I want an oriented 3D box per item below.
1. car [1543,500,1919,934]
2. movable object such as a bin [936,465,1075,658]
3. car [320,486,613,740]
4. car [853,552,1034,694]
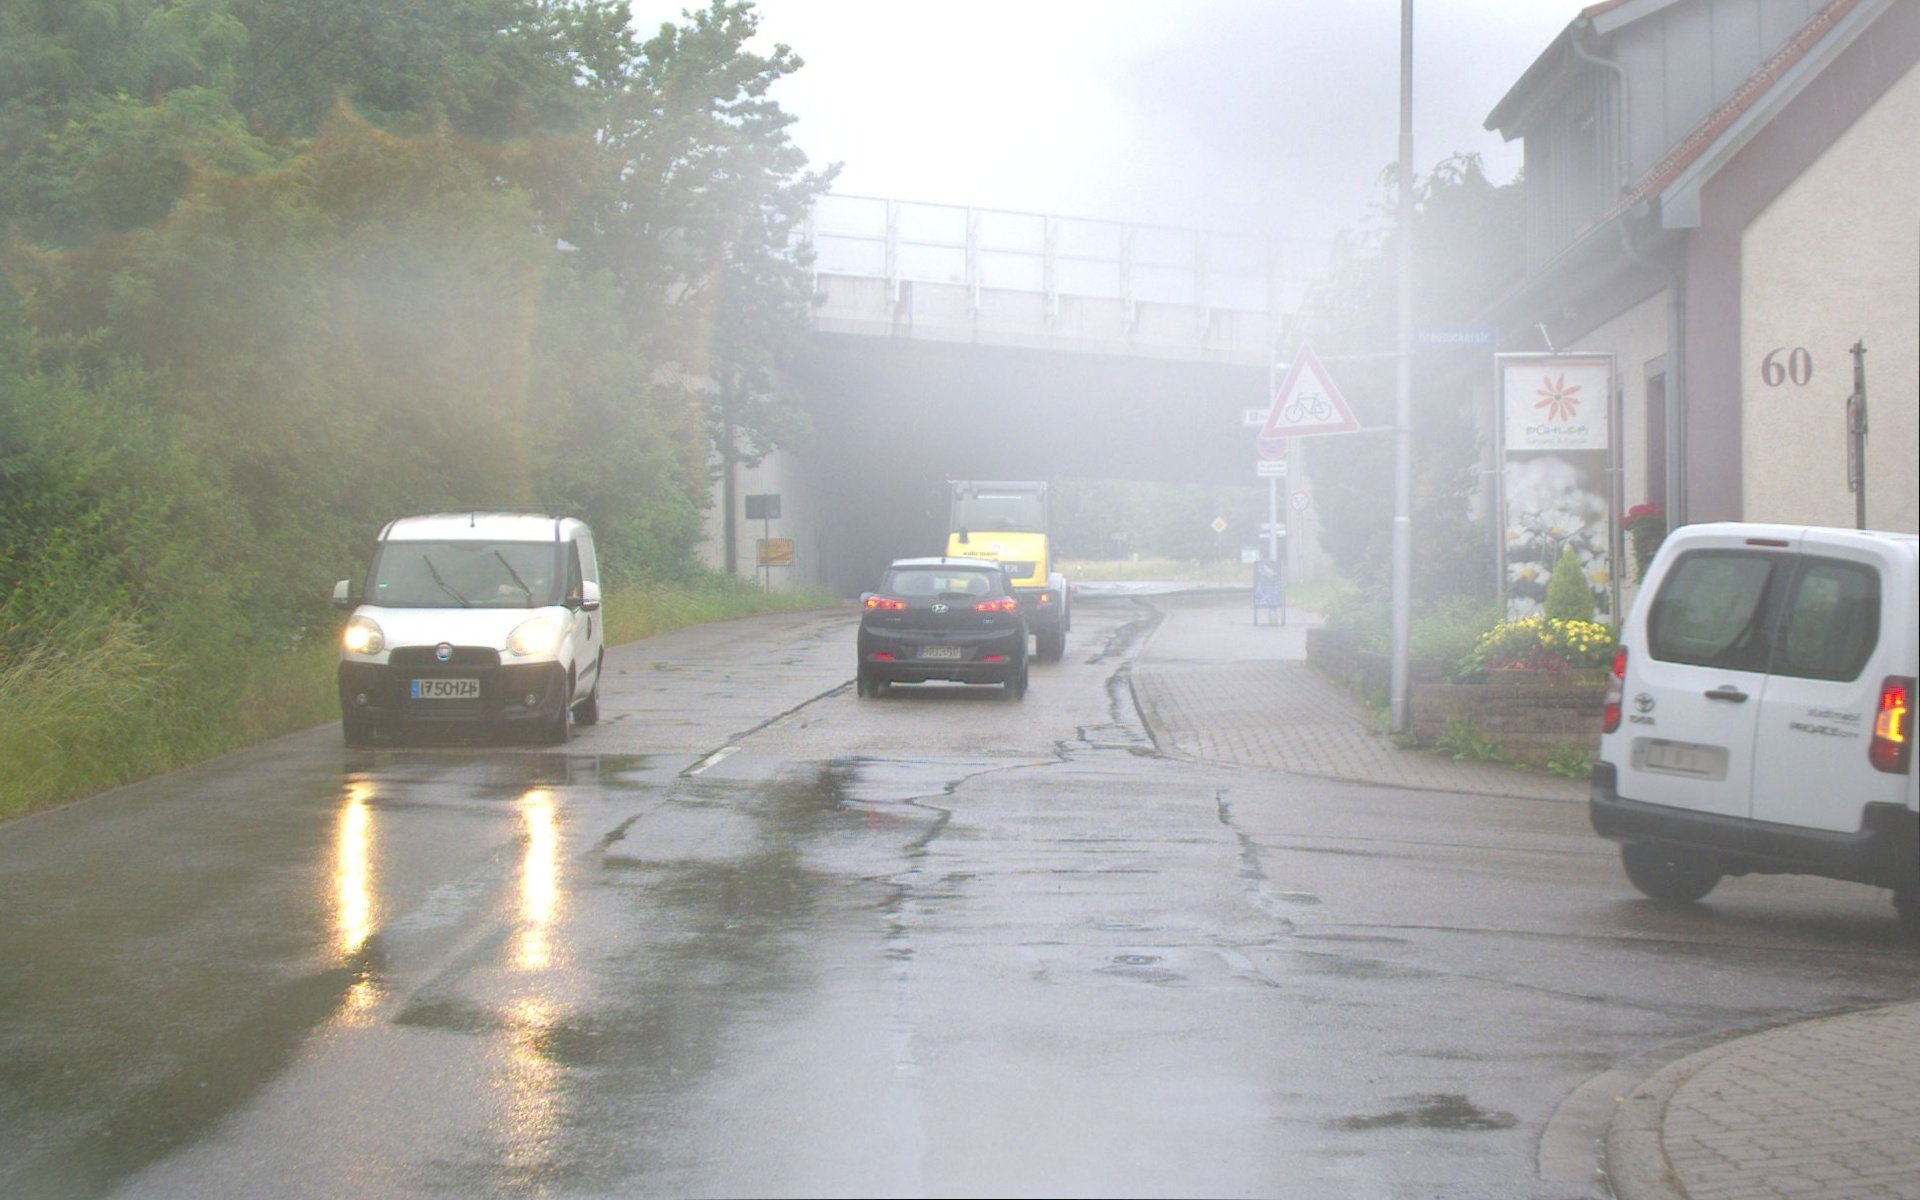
[{"bbox_3d":[4.794,0.440,16.282,3.989,1.800,1.902,-1,2,-41],"label":"car"},{"bbox_3d":[0.684,-0.533,48.443,1.761,2.539,4.239,2,1,2],"label":"movable object such as a bin"},{"bbox_3d":[-3.873,0.074,27.630,1.823,1.825,4.307,2,1,-2],"label":"car"},{"bbox_3d":[-0.126,0.213,36.614,1.709,1.373,4.000,2,1,2],"label":"car"}]
